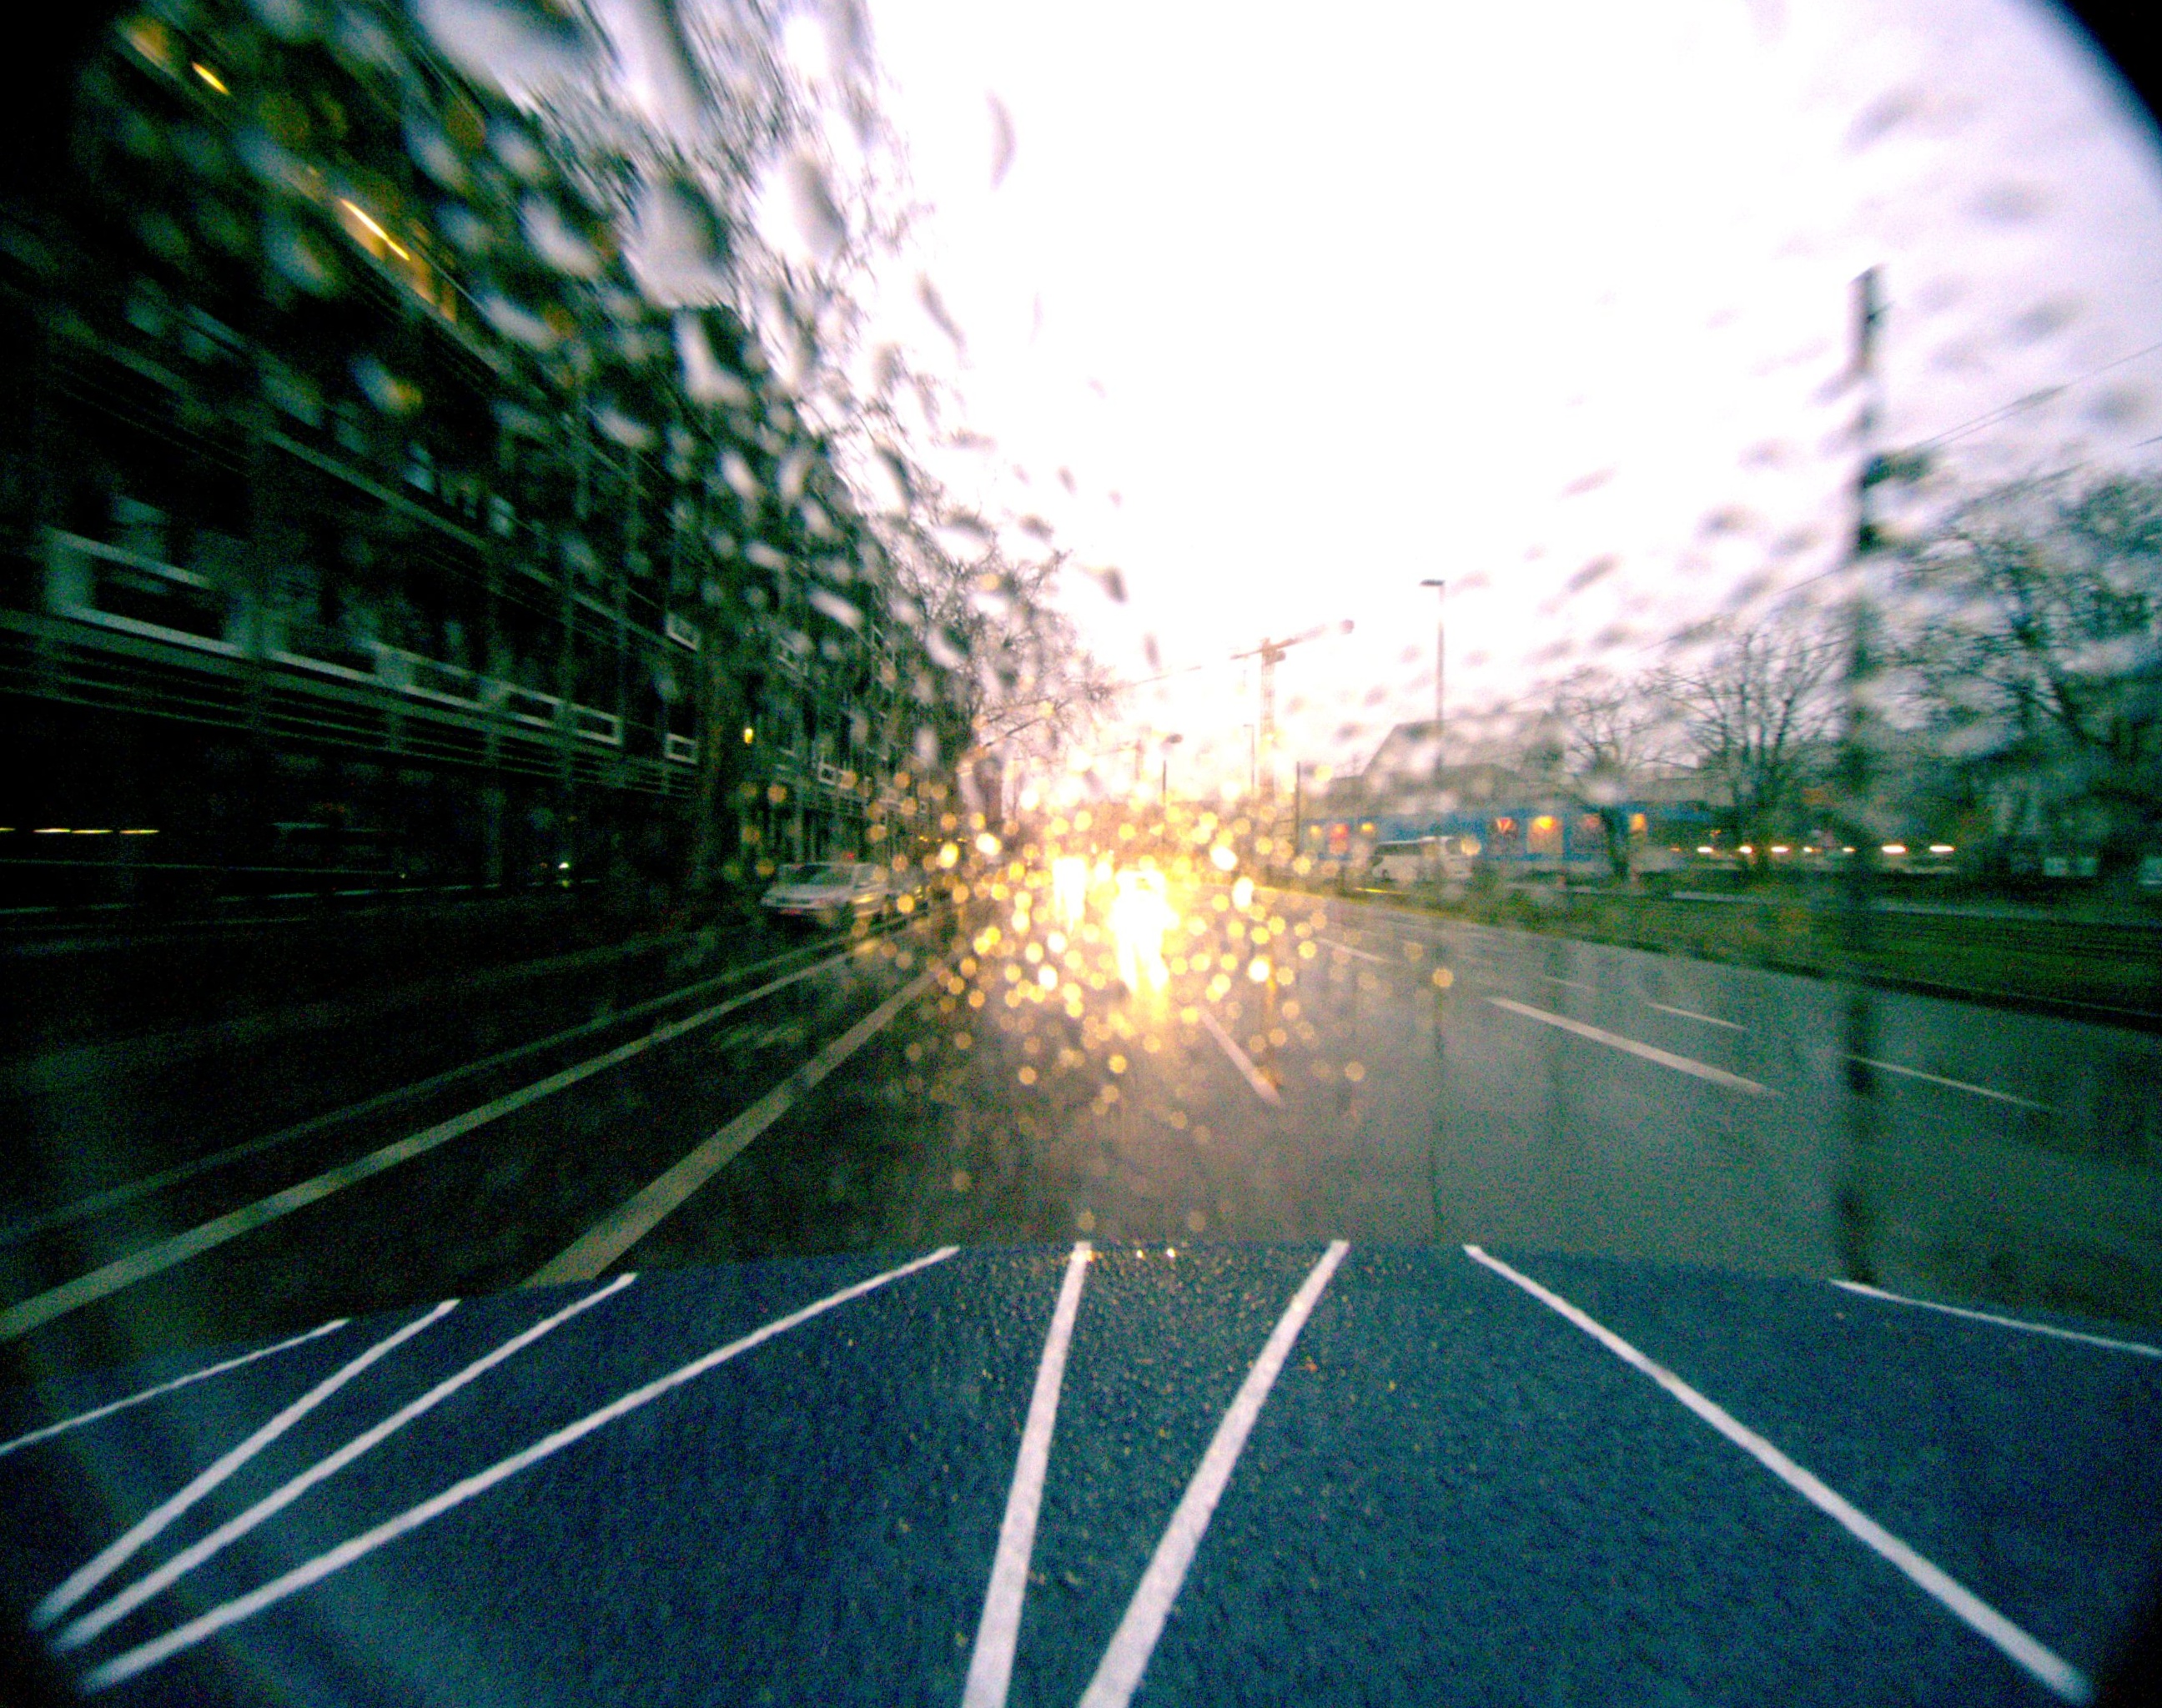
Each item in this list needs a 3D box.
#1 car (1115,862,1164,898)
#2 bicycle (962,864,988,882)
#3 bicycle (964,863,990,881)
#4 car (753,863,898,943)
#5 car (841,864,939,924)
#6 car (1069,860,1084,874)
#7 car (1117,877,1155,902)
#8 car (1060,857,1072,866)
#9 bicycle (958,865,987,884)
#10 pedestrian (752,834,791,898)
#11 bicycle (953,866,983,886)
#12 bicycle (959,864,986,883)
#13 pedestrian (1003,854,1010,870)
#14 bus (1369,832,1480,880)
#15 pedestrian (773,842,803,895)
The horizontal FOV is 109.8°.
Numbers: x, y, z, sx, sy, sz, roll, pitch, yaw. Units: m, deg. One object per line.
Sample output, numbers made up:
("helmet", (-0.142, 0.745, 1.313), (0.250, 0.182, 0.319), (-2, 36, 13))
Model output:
("car", (2.574, 1.116, 34.252), (1.778, 1.466, 4.129), (1, 0, -2))
("bicycle", (-6.213, 1.094, 44.604), (1.523, 1.030, 0.469), (-1, 1, -6))
("bicycle", (-6.346, 1.086, 46.261), (1.523, 1.030, 0.469), (-1, 1, -6))
("car", (-5.512, 0.995, 16.931), (1.607, 1.424, 3.931), (3, 0, 4))
("car", (-5.467, 1.079, 22.258), (1.764, 1.539, 4.019), (1, 0, 1))
("car", (-0.656, 1.819, 106.142), (1.858, 2.001, 4.002), (0, -1, 2))
("car", (3.625, 2.323, 50.985), (1.856, 1.466, 4.127), (1, 0, -6))
("car", (-2.674, 1.365, 134.226), (1.858, 1.591, 4.001), (0, -1, 2))
("bicycle", (-5.964, 1.128, 41.874), (1.523, 1.030, 0.469), (-1, 1, -6))
("pedestrian", (-9.936, 0.386, 24.453), (0.791, 2.002, 1.024), (1, 0, 1))
("bicycle", (-5.972, 1.146, 40.233), (1.523, 1.030, 0.469), (-1, 1, -6))
("bicycle", (-6.160, 1.105, 43.183), (1.523, 1.030, 0.469), (-1, 1, -6))
("pedestrian", (-9.958, 1.075, 101.865), (0.838, 2.002, 0.771), (-1, 1, 1))
("bus", (27.947, 0.145, 62.823), (2.815, 3.556, 12.301), (1, 0, -4))
("pedestrian", (-11.333, 0.543, 29.392), (0.822, 2.002, 0.736), (1, 0, 0))
